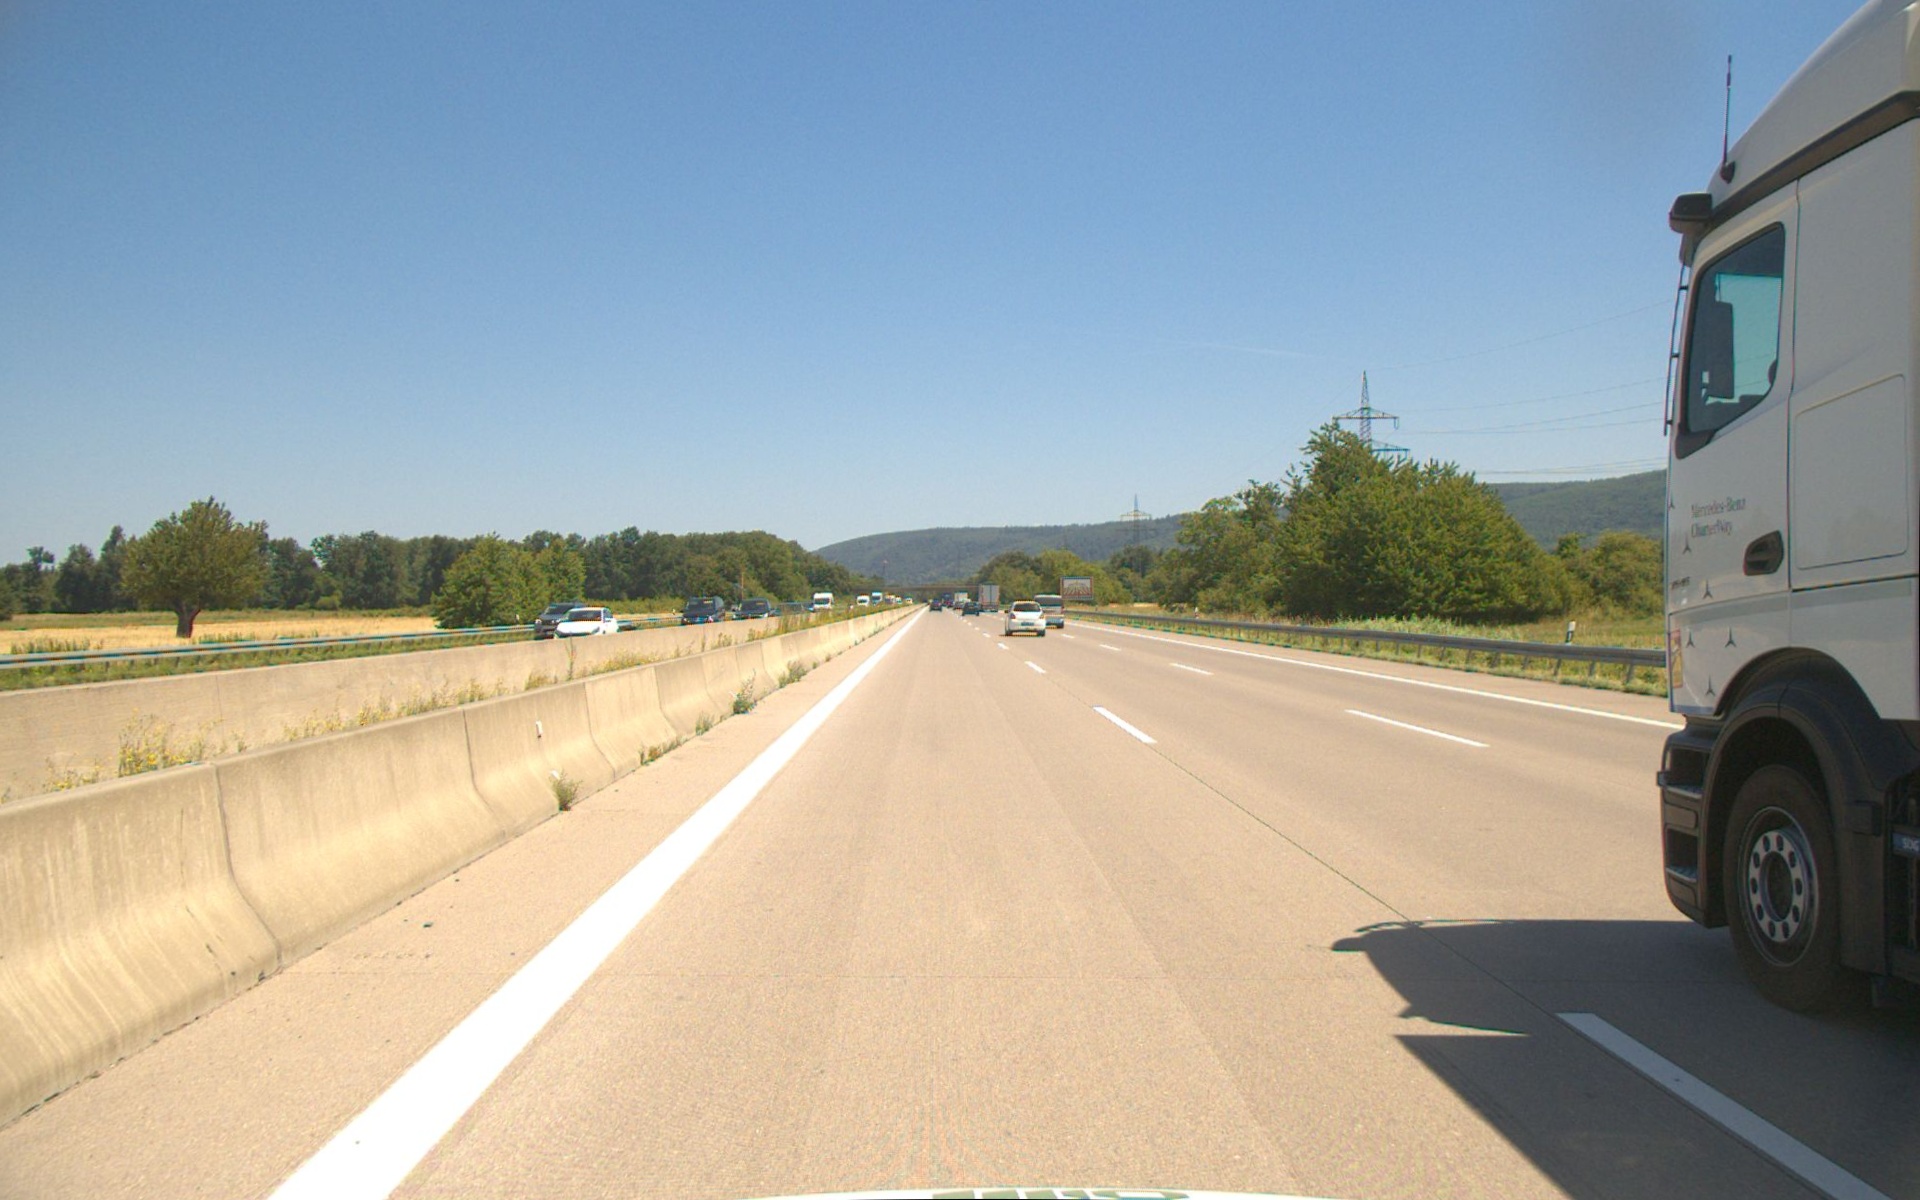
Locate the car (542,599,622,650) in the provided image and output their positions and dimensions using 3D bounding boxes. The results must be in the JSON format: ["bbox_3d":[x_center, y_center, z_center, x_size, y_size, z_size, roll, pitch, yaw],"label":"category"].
[{"bbox_3d":[-13.432,0.882,59.029,1.953,1.747,4.610,1,-1,-2],"label":"car"}]

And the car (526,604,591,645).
[{"bbox_3d":[-17.748,1.065,73.366,1.953,1.747,4.299,1,0,-2],"label":"car"}]

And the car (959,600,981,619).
[{"bbox_3d":[1.029,0.976,171.414,1.954,1.881,3.998,3,0,-2],"label":"car"}]

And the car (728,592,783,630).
[{"bbox_3d":[-9.771,0.501,79.347,1.952,1.747,5.029,1,0,0],"label":"car"}]

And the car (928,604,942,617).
[{"bbox_3d":[-3.582,1.495,232.743,1.890,1.825,3.999,1,0,-2],"label":"car"}]

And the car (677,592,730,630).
[{"bbox_3d":[-13.471,0.553,87.161,1.952,1.911,5.184,1,0,0],"label":"car"}]

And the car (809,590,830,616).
[{"bbox_3d":[-15.585,0.320,183.557,2.219,2.837,7.065,1,0,-4],"label":"car"}]

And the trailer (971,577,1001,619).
[{"bbox_3d":[3.800,-0.287,244.037,3.646,5.913,12.156,1,0,-2],"label":"trailer"}]

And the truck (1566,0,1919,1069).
[{"bbox_3d":[4.360,-0.449,5.739,2.529,3.945,4.982,1,0,-2],"label":"truck"}]

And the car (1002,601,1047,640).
[{"bbox_3d":[2.863,0.880,74.359,1.783,1.691,3.999,0,0,-2],"label":"car"}]

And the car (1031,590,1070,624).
[{"bbox_3d":[5.264,0.417,96.402,1.953,1.881,3.999,1,0,-2],"label":"car"}]

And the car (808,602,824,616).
[{"bbox_3d":[-17.799,1.094,204.676,1.718,1.713,4.841,1,0,-1],"label":"car"}]
